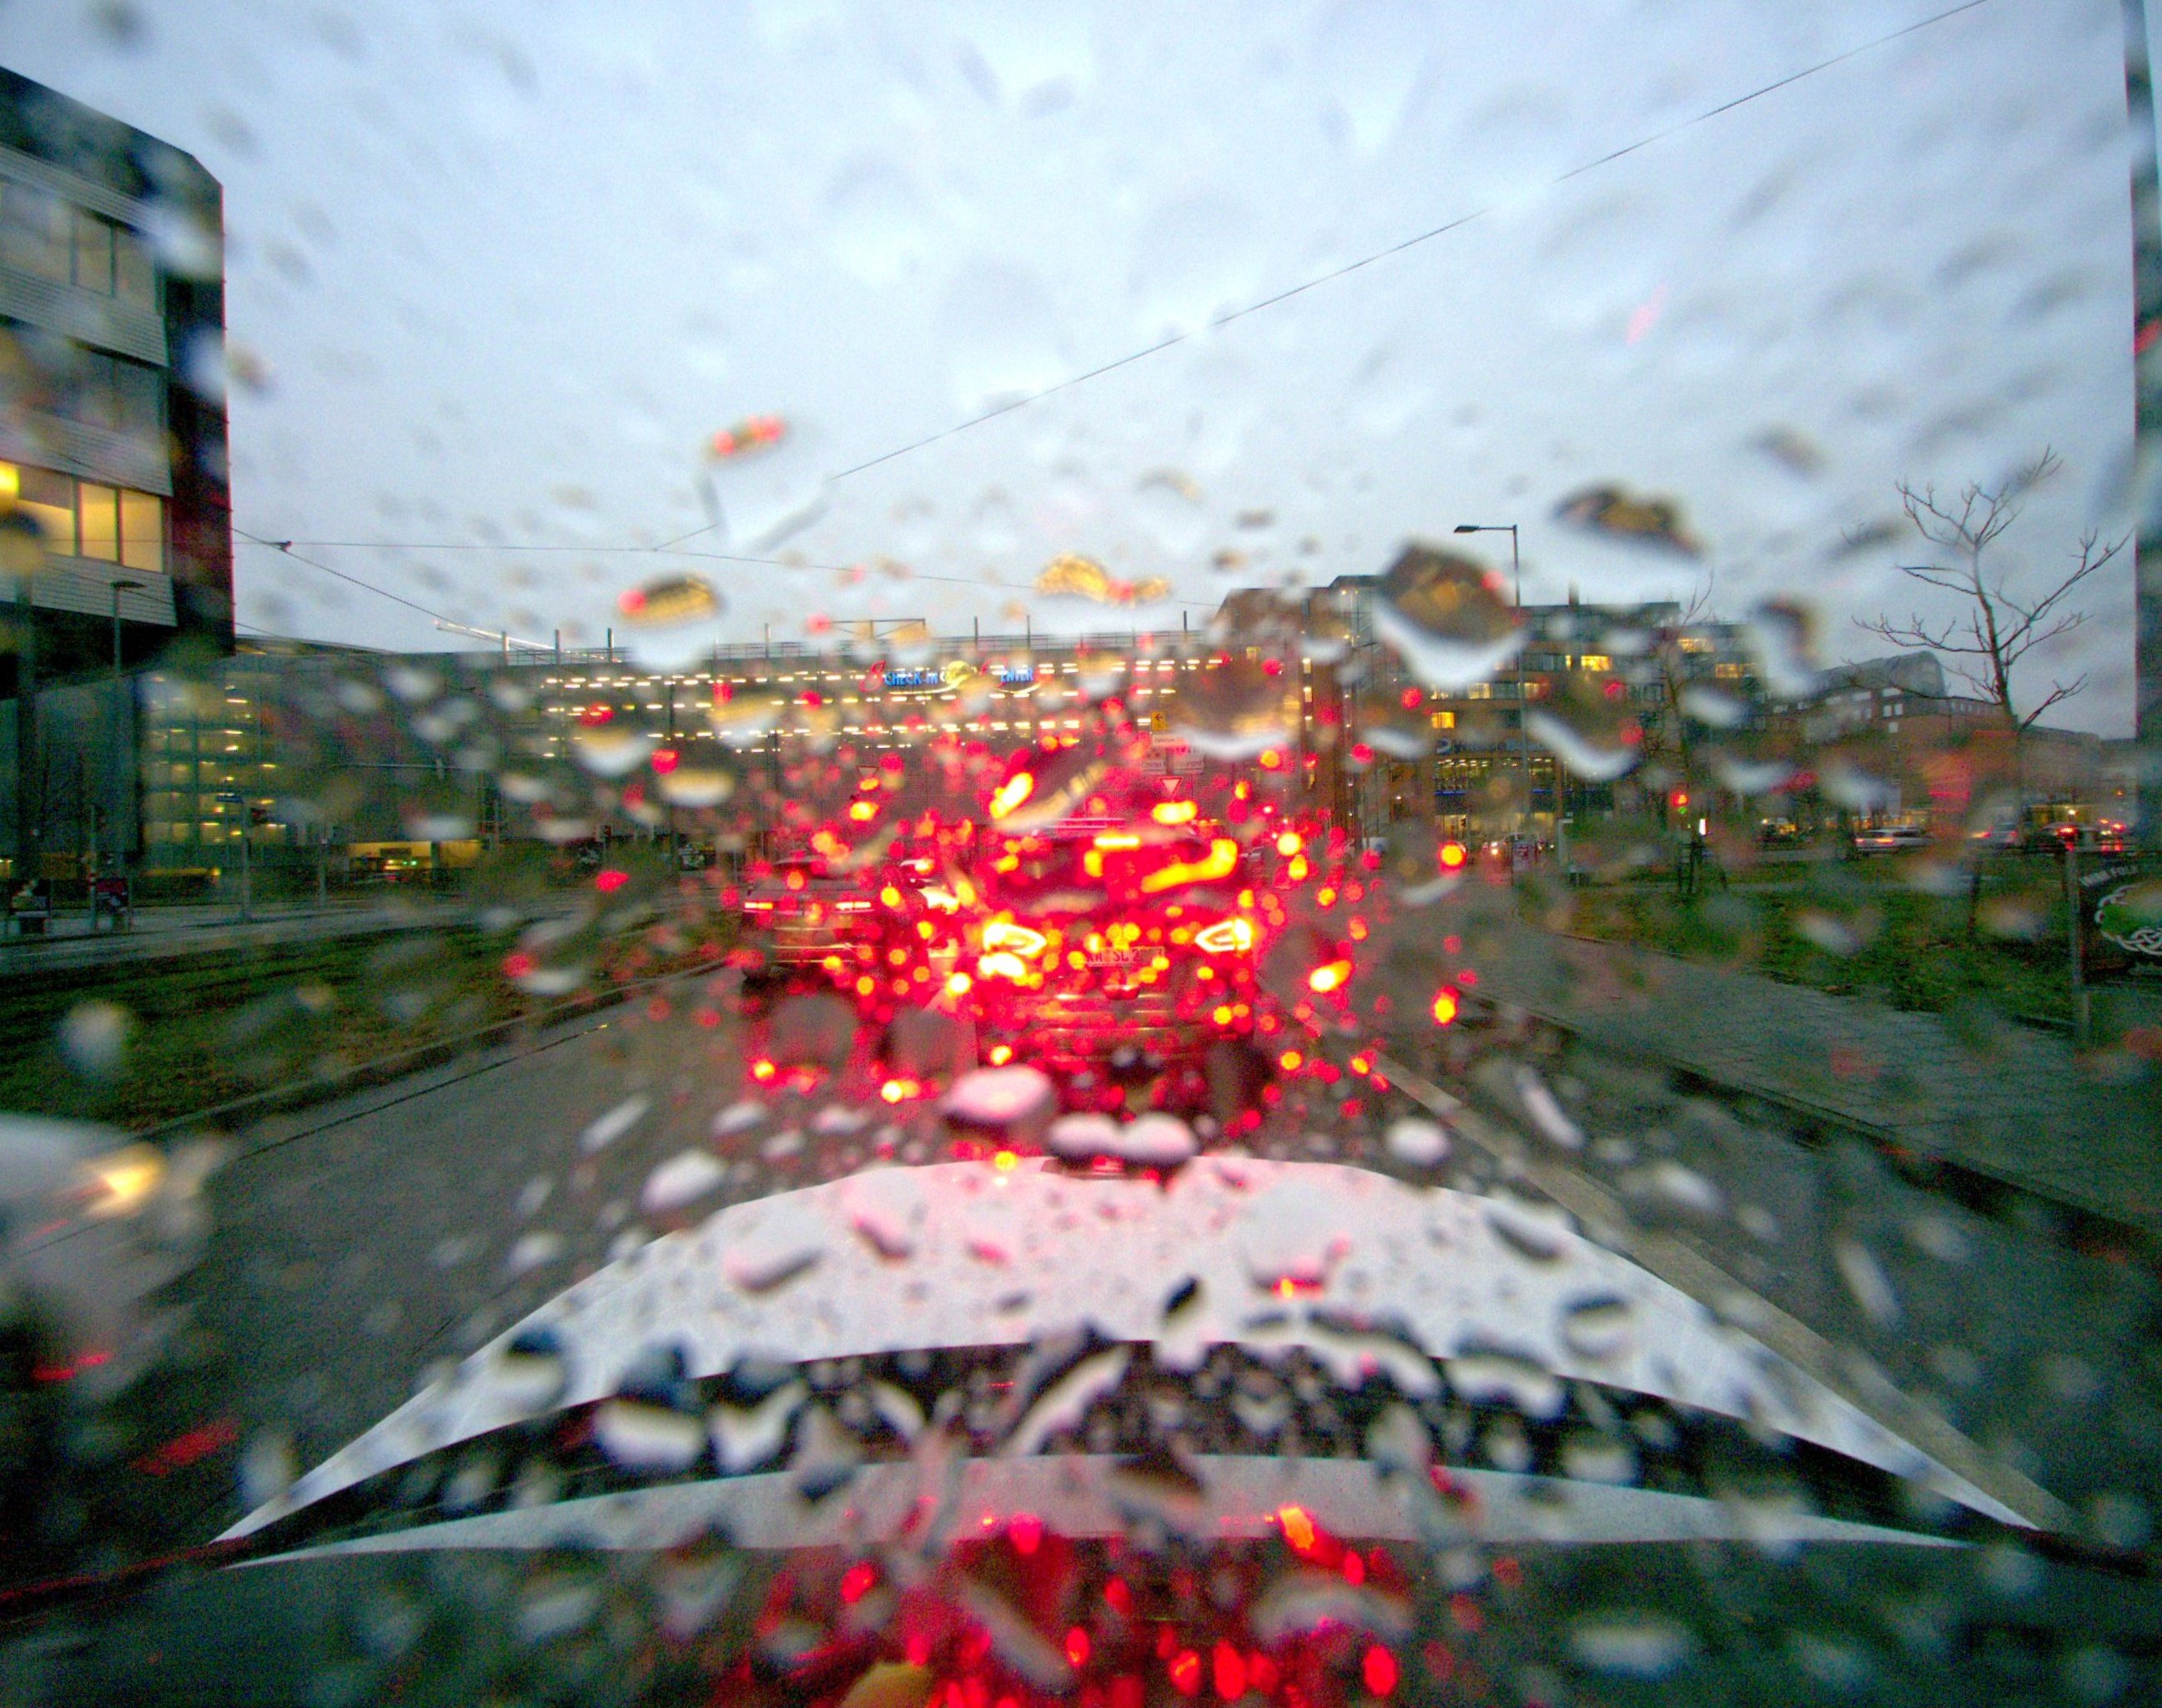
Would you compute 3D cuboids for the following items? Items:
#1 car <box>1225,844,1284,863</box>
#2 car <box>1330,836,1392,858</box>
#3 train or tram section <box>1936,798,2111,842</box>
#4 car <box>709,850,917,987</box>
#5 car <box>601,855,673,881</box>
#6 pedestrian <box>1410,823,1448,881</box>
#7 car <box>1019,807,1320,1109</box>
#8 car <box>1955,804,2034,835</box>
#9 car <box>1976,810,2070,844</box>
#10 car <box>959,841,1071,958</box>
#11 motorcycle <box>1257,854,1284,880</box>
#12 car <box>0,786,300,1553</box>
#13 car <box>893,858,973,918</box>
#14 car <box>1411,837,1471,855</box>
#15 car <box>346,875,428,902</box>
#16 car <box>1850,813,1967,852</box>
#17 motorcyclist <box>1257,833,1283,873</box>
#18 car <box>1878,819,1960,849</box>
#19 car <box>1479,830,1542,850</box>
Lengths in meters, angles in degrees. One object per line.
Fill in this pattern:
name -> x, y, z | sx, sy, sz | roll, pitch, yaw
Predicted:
car -> 14.086, -0.062, 66.222 | 4.413, 1.390, 1.796 | -2, 0, -6
car -> 22.877, -0.577, 66.638 | 4.413, 1.595, 1.796 | -2, 0, -6
train or tram section -> 79.876, -2.918, 68.921 | 16.626, 3.260, 2.326 | -2, 0, -14
car -> -3.598, 0.774, 11.723 | 1.748, 1.574, 3.997 | -2, 0, -2
car -> -36.579, 1.122, 67.198 | 4.831, 2.000, 1.797 | -2, 0, -5
pedestrian -> 11.850, -0.090, 27.728 | 1.159, 1.924, 0.904 | 1, 0, 25
car -> 0.504, 0.596, 6.835 | 1.730, 1.738, 4.246 | 1, 0, 0
car -> 64.420, -2.411, 57.425 | 4.948, 2.013, 1.987 | 0, 0, -20
car -> 57.197, -1.645, 49.480 | 3.987, 1.874, 1.994 | -3, 1, -10
car -> -1.049, 0.673, 13.847 | 1.632, 1.697, 3.667 | -1, 0, -3
motorcycle -> 7.343, 0.485, 31.626 | 0.848, 0.972, 1.585 | -2, 0, 7
car -> -3.250, 0.687, 0.348 | 1.663, 1.660, 4.152 | 1, 0, 3
car -> -3.480, 0.752, 19.736 | 1.538, 1.251, 4.059 | -1, 0, -6
car -> 29.930, -0.663, 67.817 | 4.209, 1.390, 1.796 | -2, 0, -6
car -> -56.316, 2.784, 66.145 | 4.831, 2.000, 1.797 | -2, 0, -5
car -> 43.532, -1.113, 42.891 | 4.663, 1.851, 1.827 | -2, -1, -7
motorcyclist -> 7.333, -0.041, 31.643 | 0.863, 1.534, 1.110 | -2, 0, 7
car -> 57.225, -1.354, 55.657 | 3.985, 2.013, 1.994 | 0, 0, -9
car -> 36.268, -1.185, 68.821 | 4.425, 1.534, 1.796 | -2, 0, -6
